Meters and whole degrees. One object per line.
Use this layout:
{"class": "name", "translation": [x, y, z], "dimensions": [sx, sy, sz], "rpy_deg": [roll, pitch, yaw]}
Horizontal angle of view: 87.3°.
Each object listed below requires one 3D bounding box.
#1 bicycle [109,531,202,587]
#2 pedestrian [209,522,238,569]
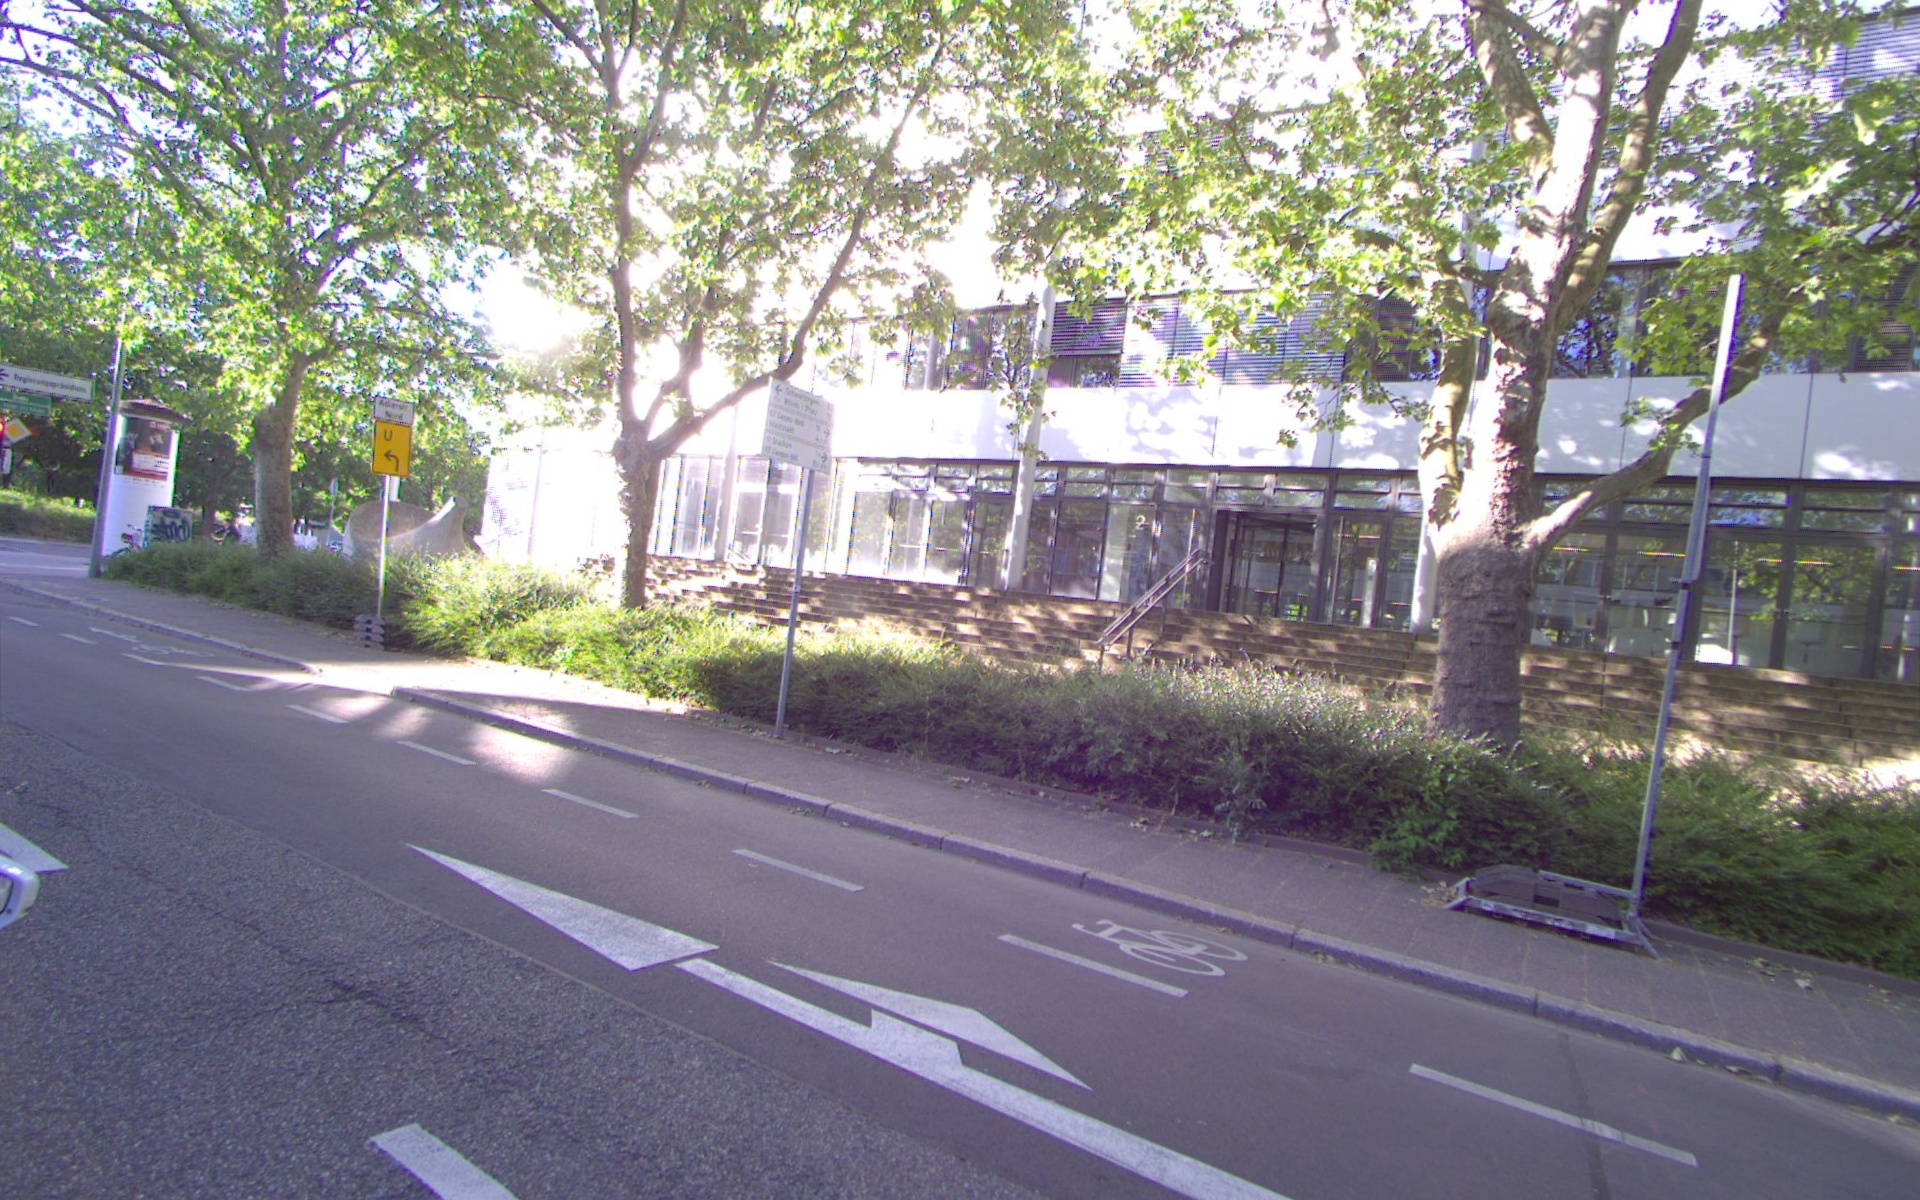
{"class": "bicycle", "translation": [-17.733, -0.888, 22.206], "dimensions": [0.529, 1.050, 1.418], "rpy_deg": [7, -1, 28]}
{"class": "pedestrian", "translation": [-30.098, -2.243, 41.087], "dimensions": [0.620, 1.806, 0.620], "rpy_deg": [7, 0, 34]}
